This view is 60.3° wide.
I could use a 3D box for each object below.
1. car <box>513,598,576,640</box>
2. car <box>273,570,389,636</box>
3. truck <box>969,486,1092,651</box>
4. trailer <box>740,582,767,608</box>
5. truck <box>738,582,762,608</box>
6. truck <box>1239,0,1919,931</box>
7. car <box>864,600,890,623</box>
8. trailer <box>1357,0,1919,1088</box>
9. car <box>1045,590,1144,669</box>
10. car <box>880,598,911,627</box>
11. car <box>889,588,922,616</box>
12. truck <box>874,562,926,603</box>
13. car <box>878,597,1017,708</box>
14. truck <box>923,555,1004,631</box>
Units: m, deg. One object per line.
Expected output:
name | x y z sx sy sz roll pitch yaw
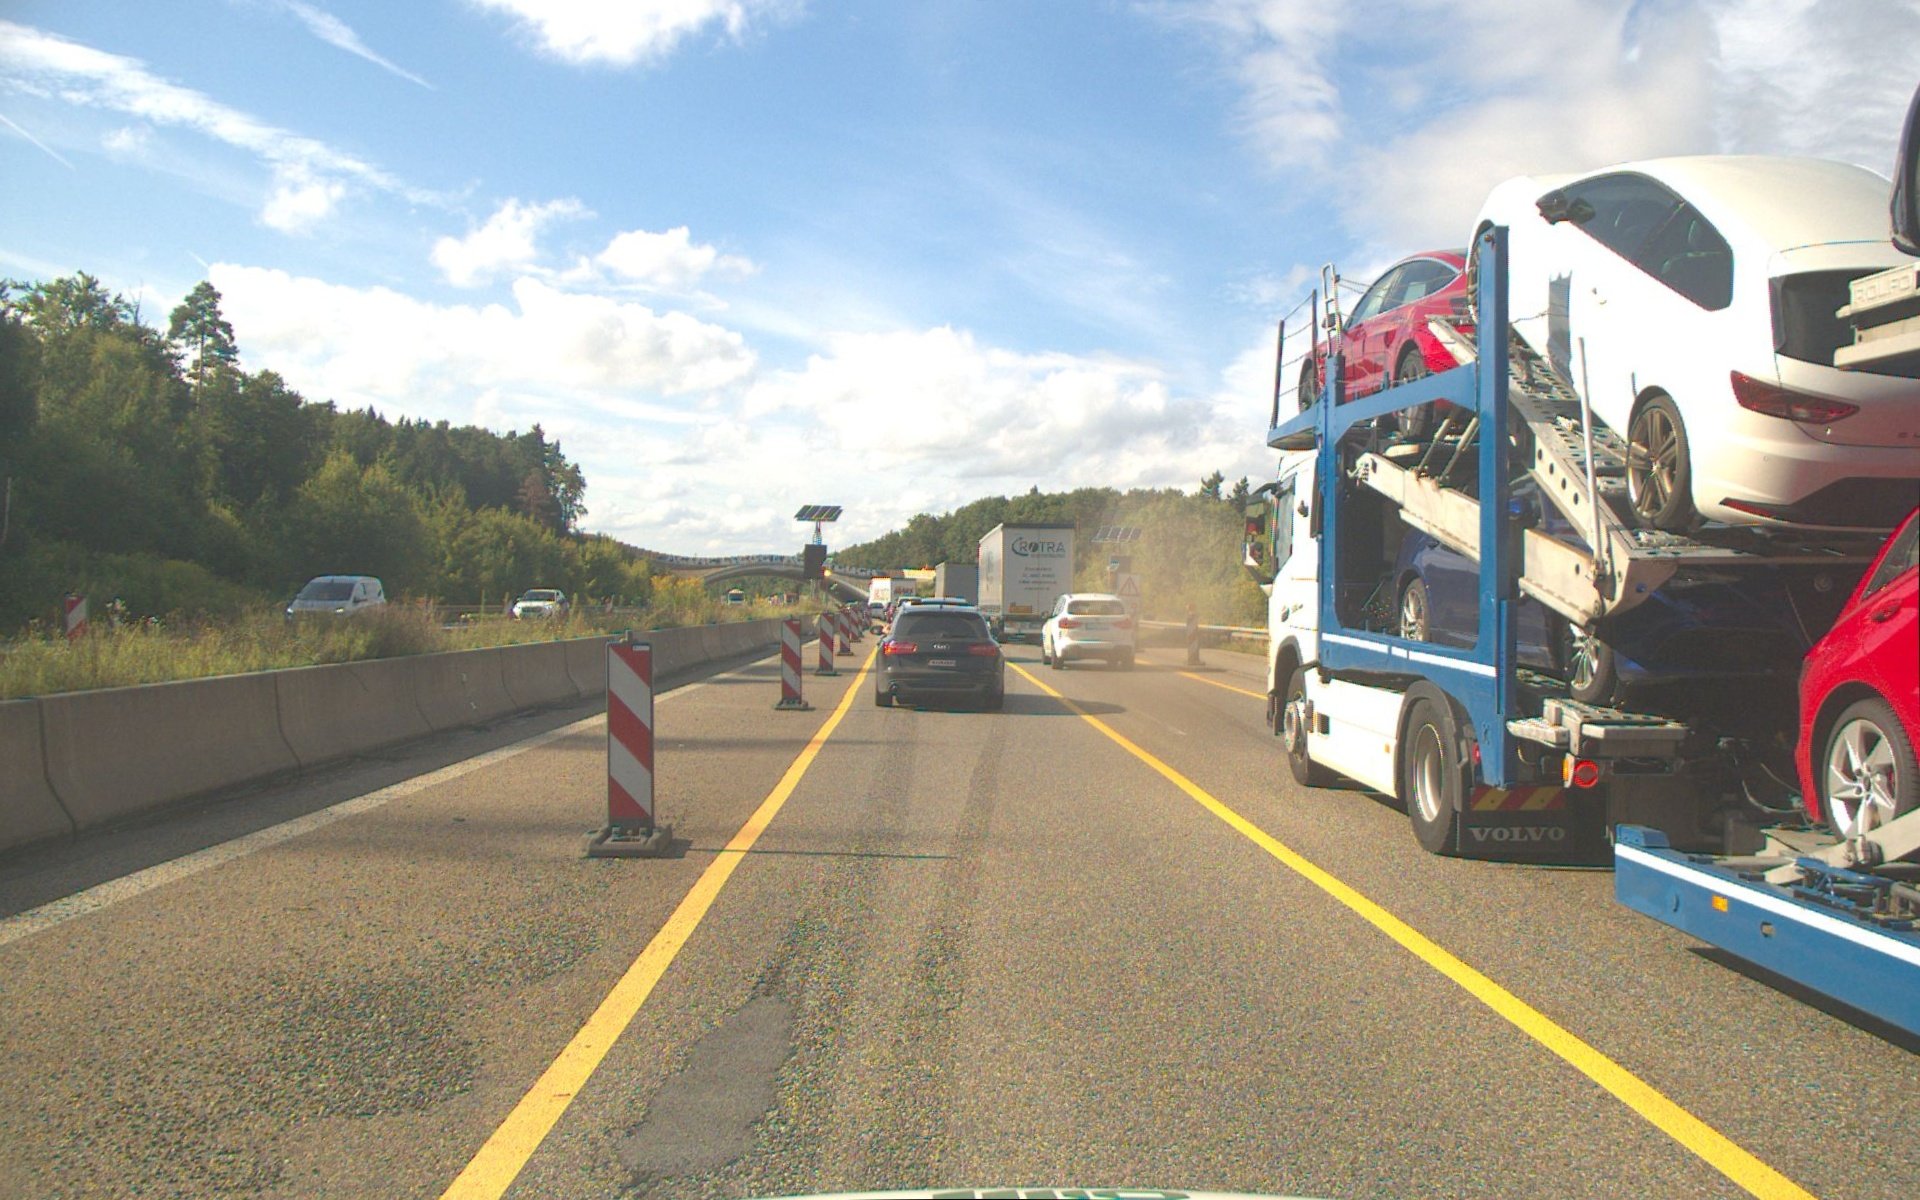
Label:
car | -18.542 0.844 74.019 1.742 1.817 4.364 1 0 -1
car | -18.199 0.099 48.062 1.742 1.817 4.364 1 0 -1
truck | 2.412 -1.011 63.558 3.603 5.447 16.196 1 0 -1
trailer | -30.101 -0.700 241.963 2.745 3.551 11.109 1 0 -1
truck | -29.959 -0.728 235.849 2.728 3.551 4.938 1 0 -1
truck | 4.561 -0.625 11.409 3.685 4.270 7.948 1 0 -2
car | -7.650 1.006 151.541 1.956 2.049 3.992 1 0 -8
trailer | 4.766 -0.654 3.248 3.651 4.270 16.222 1 0 -1
car | 3.027 0.654 37.886 1.852 1.672 4.017 1 0 -1
car | -4.742 0.927 120.951 1.955 2.049 3.994 1 0 -6
car | -3.419 0.147 103.796 1.853 1.672 4.014 1 0 -5
truck | -6.126 -1.695 167.311 3.589 3.997 11.037 1 0 -11
car | -0.197 0.725 24.371 1.852 1.472 3.999 1 0 -1
truck | 0.110 -0.430 109.116 4.235 4.681 11.112 1 0 -5
